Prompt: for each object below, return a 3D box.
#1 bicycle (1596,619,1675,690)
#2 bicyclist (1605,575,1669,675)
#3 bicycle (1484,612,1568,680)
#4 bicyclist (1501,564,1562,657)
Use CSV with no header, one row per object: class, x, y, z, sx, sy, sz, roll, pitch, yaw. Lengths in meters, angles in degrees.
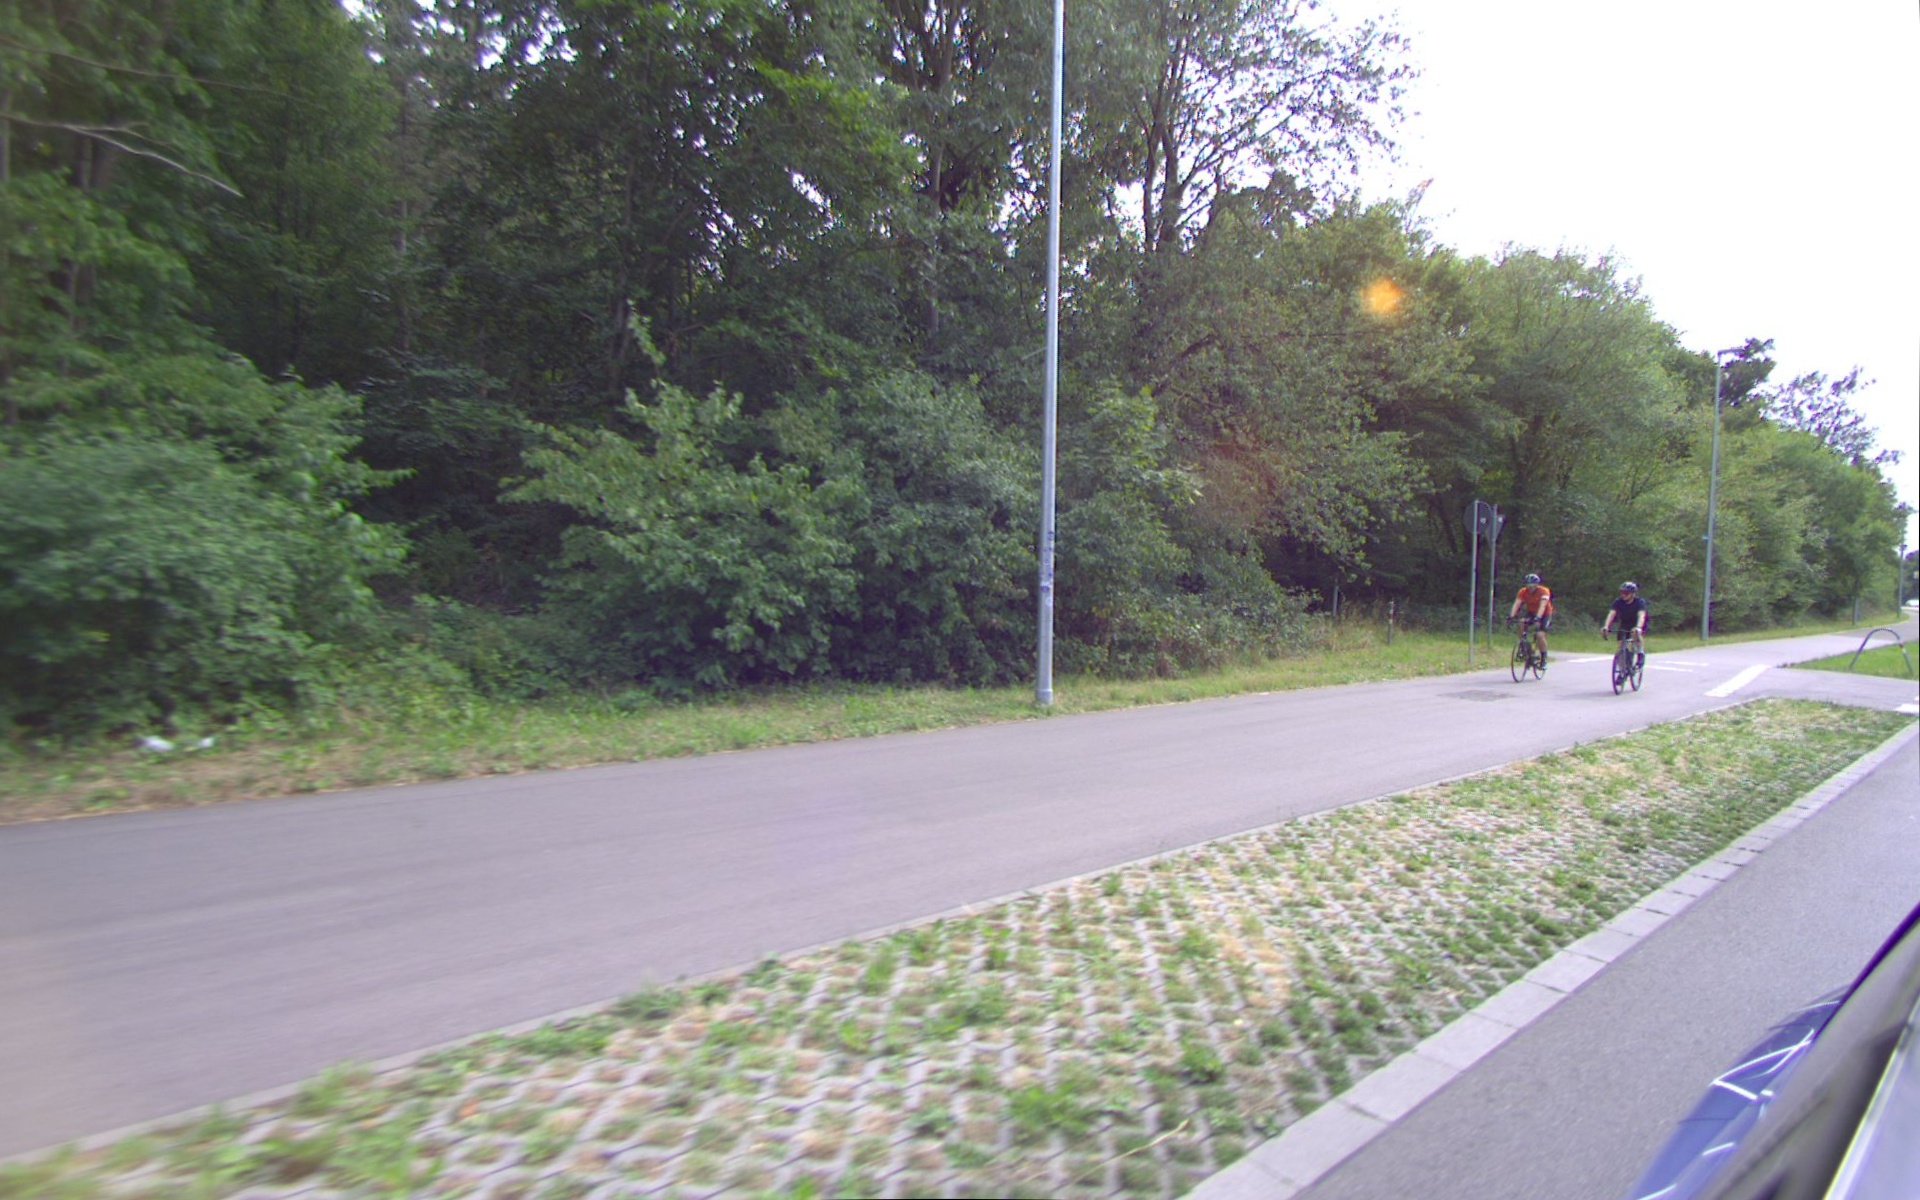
bicycle,10.232,0.797,15.305,1.725,0.922,0.567,-1,4,-43
bicyclist,10.237,0.352,15.291,1.166,1.433,0.520,-1,2,-43
bicycle,9.037,0.706,16.126,1.855,0.922,0.567,-2,6,-43
bicyclist,9.149,0.155,16.195,1.166,1.433,0.520,-1,0,-43
